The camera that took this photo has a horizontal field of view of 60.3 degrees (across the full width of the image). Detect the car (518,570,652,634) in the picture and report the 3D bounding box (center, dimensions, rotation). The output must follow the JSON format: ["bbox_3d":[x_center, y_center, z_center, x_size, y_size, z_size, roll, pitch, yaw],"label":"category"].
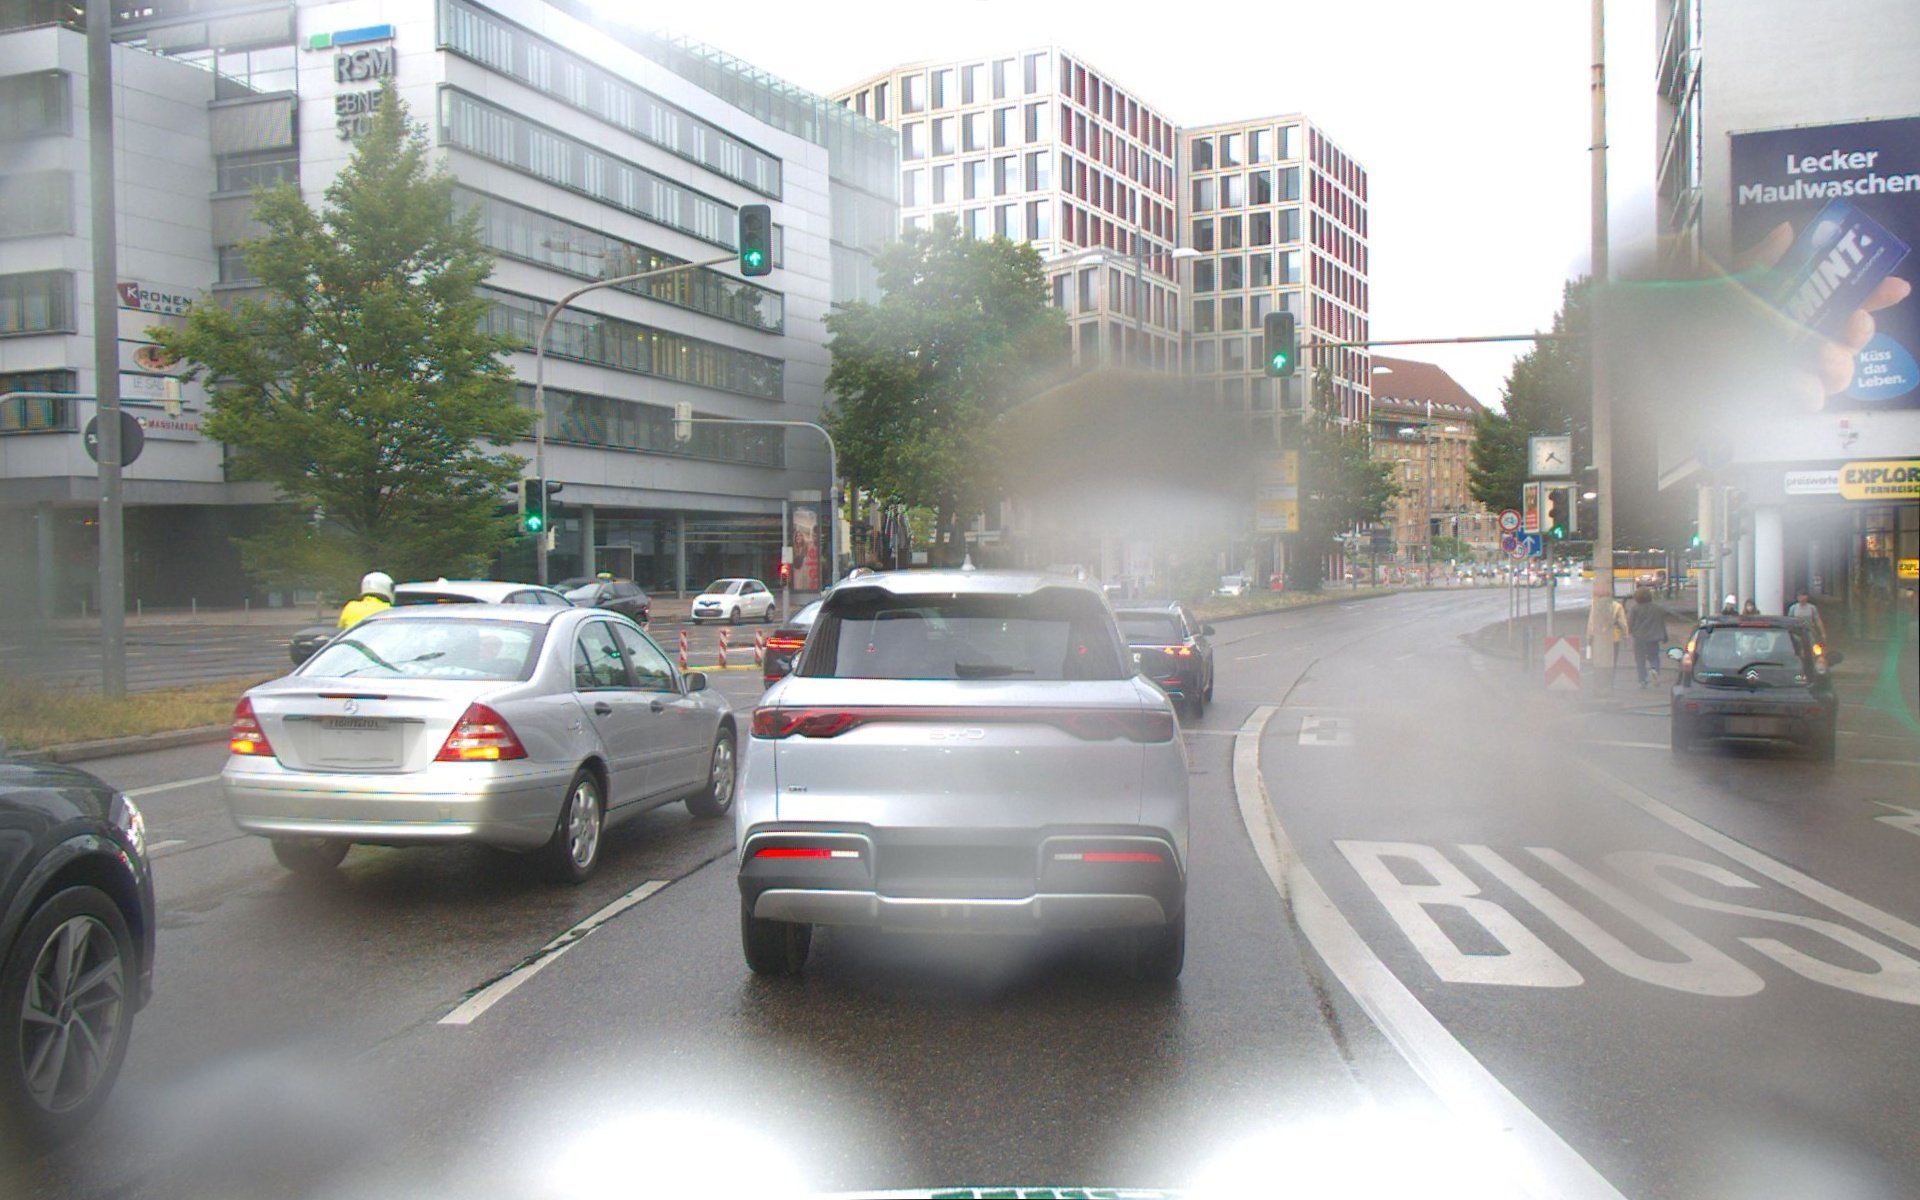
[{"bbox_3d":[-9.690,0.033,43.053,1.609,1.563,4.155,1,0,16],"label":"car"}]

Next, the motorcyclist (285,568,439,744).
[{"bbox_3d":[-5.005,0.455,13.909,0.753,1.404,1.119,1,-1,9],"label":"motorcyclist"}]

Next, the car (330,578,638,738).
[{"bbox_3d":[-4.997,0.571,17.968,1.670,1.512,4.003,1,0,9],"label":"car"}]

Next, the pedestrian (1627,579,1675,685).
[{"bbox_3d":[12.162,0.547,29.117,0.733,1.829,0.817,0,1,19],"label":"pedestrian"}]

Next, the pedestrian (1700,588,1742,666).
[{"bbox_3d":[16.557,0.575,35.968,0.659,1.684,0.649,0,0,43],"label":"pedestrian"}]

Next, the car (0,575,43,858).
[{"bbox_3d":[-6.358,0.641,7.155,1.826,1.560,4.780,1,0,4],"label":"car"}]

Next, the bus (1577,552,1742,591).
[{"bbox_3d":[77.727,-3.128,184.036,16.633,4.134,4.433,1,-1,27],"label":"bus"}]

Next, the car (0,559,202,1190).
[{"bbox_3d":[-3.148,0.671,2.974,1.614,1.548,4.271,1,0,-1],"label":"car"}]

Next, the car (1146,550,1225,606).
[{"bbox_3d":[8.895,-0.842,64.918,1.953,2.049,4.848,1,-1,22],"label":"car"}]

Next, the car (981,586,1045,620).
[{"bbox_3d":[2.637,0.134,81.182,1.598,1.586,4.592,0,1,23],"label":"car"}]

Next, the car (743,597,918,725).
[{"bbox_3d":[-1.618,0.748,21.951,1.537,1.512,4.003,1,0,7],"label":"car"}]

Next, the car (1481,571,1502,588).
[{"bbox_3d":[66.105,-2.537,205.671,1.954,2.049,3.996,1,0,26],"label":"car"}]

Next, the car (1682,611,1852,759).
[{"bbox_3d":[8.978,0.869,18.581,1.539,1.454,3.998,1,-1,24],"label":"car"}]

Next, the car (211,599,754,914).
[{"bbox_3d":[-2.501,0.741,9.770,1.537,1.432,4.112,1,0,8],"label":"car"}]

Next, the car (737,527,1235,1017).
[{"bbox_3d":[0.134,0.621,7.854,1.739,1.708,4.000,1,0,1],"label":"car"}]

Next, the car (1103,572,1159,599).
[{"bbox_3d":[9.896,-0.852,95.330,1.955,1.514,3.996,0,1,27],"label":"car"}]

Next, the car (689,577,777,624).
[{"bbox_3d":[-7.989,0.045,58.602,1.604,1.598,3.720,1,-1,18],"label":"car"}]

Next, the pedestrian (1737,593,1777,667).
[{"bbox_3d":[17.167,0.646,35.608,0.615,1.570,0.649,0,0,43],"label":"pedestrian"}]

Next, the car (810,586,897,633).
[{"bbox_3d":[-3.323,0.319,52.381,1.654,1.409,3.871,1,0,13],"label":"car"}]

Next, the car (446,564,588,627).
[{"bbox_3d":[-12.518,-0.136,47.002,1.952,1.638,4.001,2,1,19],"label":"car"}]

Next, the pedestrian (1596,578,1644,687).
[{"bbox_3d":[11.314,0.546,28.374,0.733,1.829,0.817,0,1,19],"label":"pedestrian"}]

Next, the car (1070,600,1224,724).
[{"bbox_3d":[2.630,0.785,22.520,1.657,1.512,4.003,1,0,12],"label":"car"}]

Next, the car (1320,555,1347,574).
[{"bbox_3d":[37.010,-3.528,163.951,1.577,1.771,3.437,1,-1,31],"label":"car"}]

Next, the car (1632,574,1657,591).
[{"bbox_3d":[62.601,-1.593,151.180,1.661,1.512,3.993,0,-1,29],"label":"car"}]

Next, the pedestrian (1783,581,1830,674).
[{"bbox_3d":[16.923,0.541,33.059,0.659,1.825,0.768,0,0,42],"label":"pedestrian"}]

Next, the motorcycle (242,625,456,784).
[{"bbox_3d":[-5.031,0.819,13.790,0.783,1.205,2.030,1,-1,8],"label":"motorcycle"}]

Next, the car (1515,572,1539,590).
[{"bbox_3d":[52.405,-1.772,152.850,1.849,1.671,4.000,0,0,22],"label":"car"}]

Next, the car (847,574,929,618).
[{"bbox_3d":[-2.691,-0.163,62.330,1.610,1.609,4.086,1,0,21],"label":"car"}]

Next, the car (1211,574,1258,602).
[{"bbox_3d":[14.711,-0.656,88.540,1.598,1.462,3.907,0,1,23],"label":"car"}]

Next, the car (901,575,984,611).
[{"bbox_3d":[-0.749,-0.354,74.721,1.777,1.536,5.194,0,1,24],"label":"car"}]
